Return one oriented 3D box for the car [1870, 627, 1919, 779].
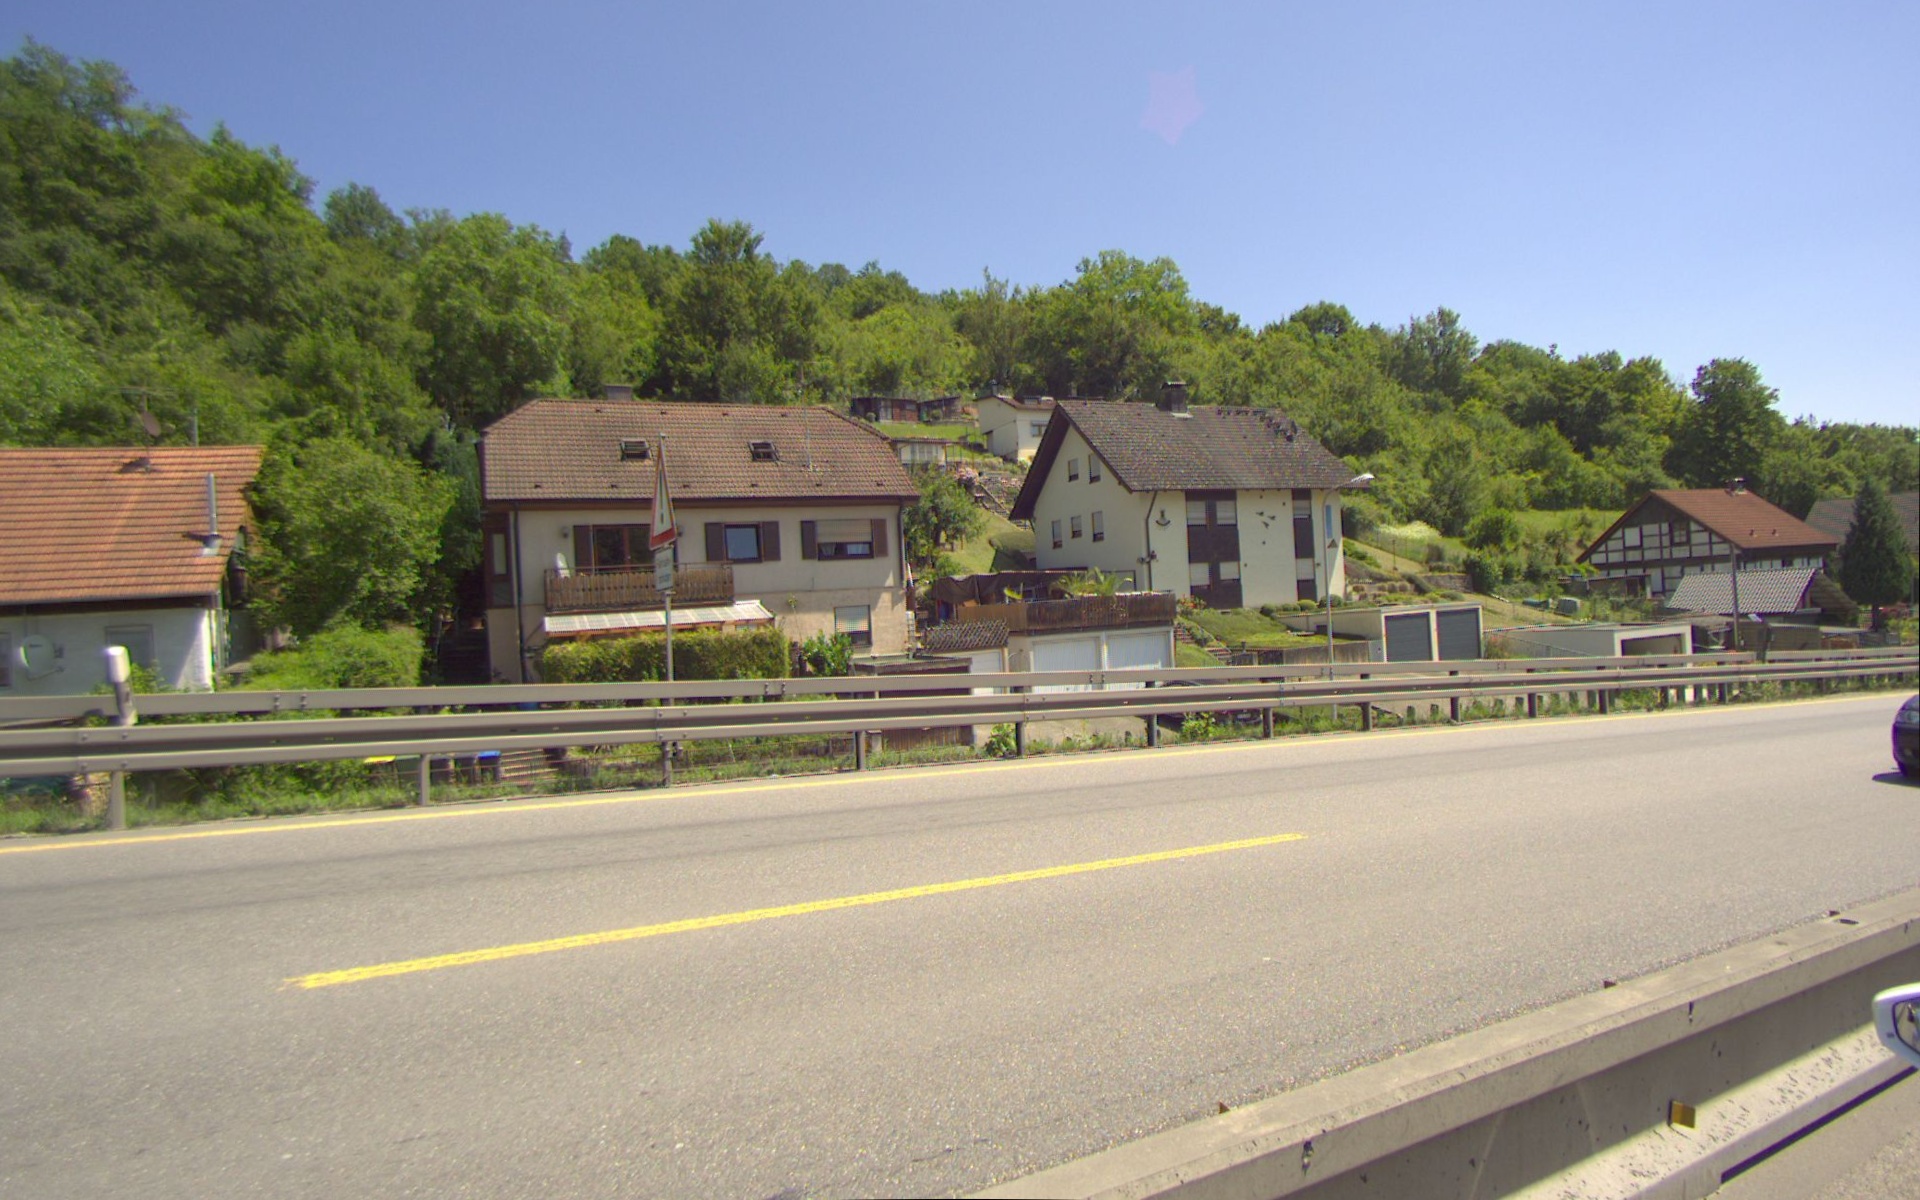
[{"bbox_3d":[10.997,0.981,10.007,3.952,1.427,1.711,1,-1,-30],"label":"car"}]
